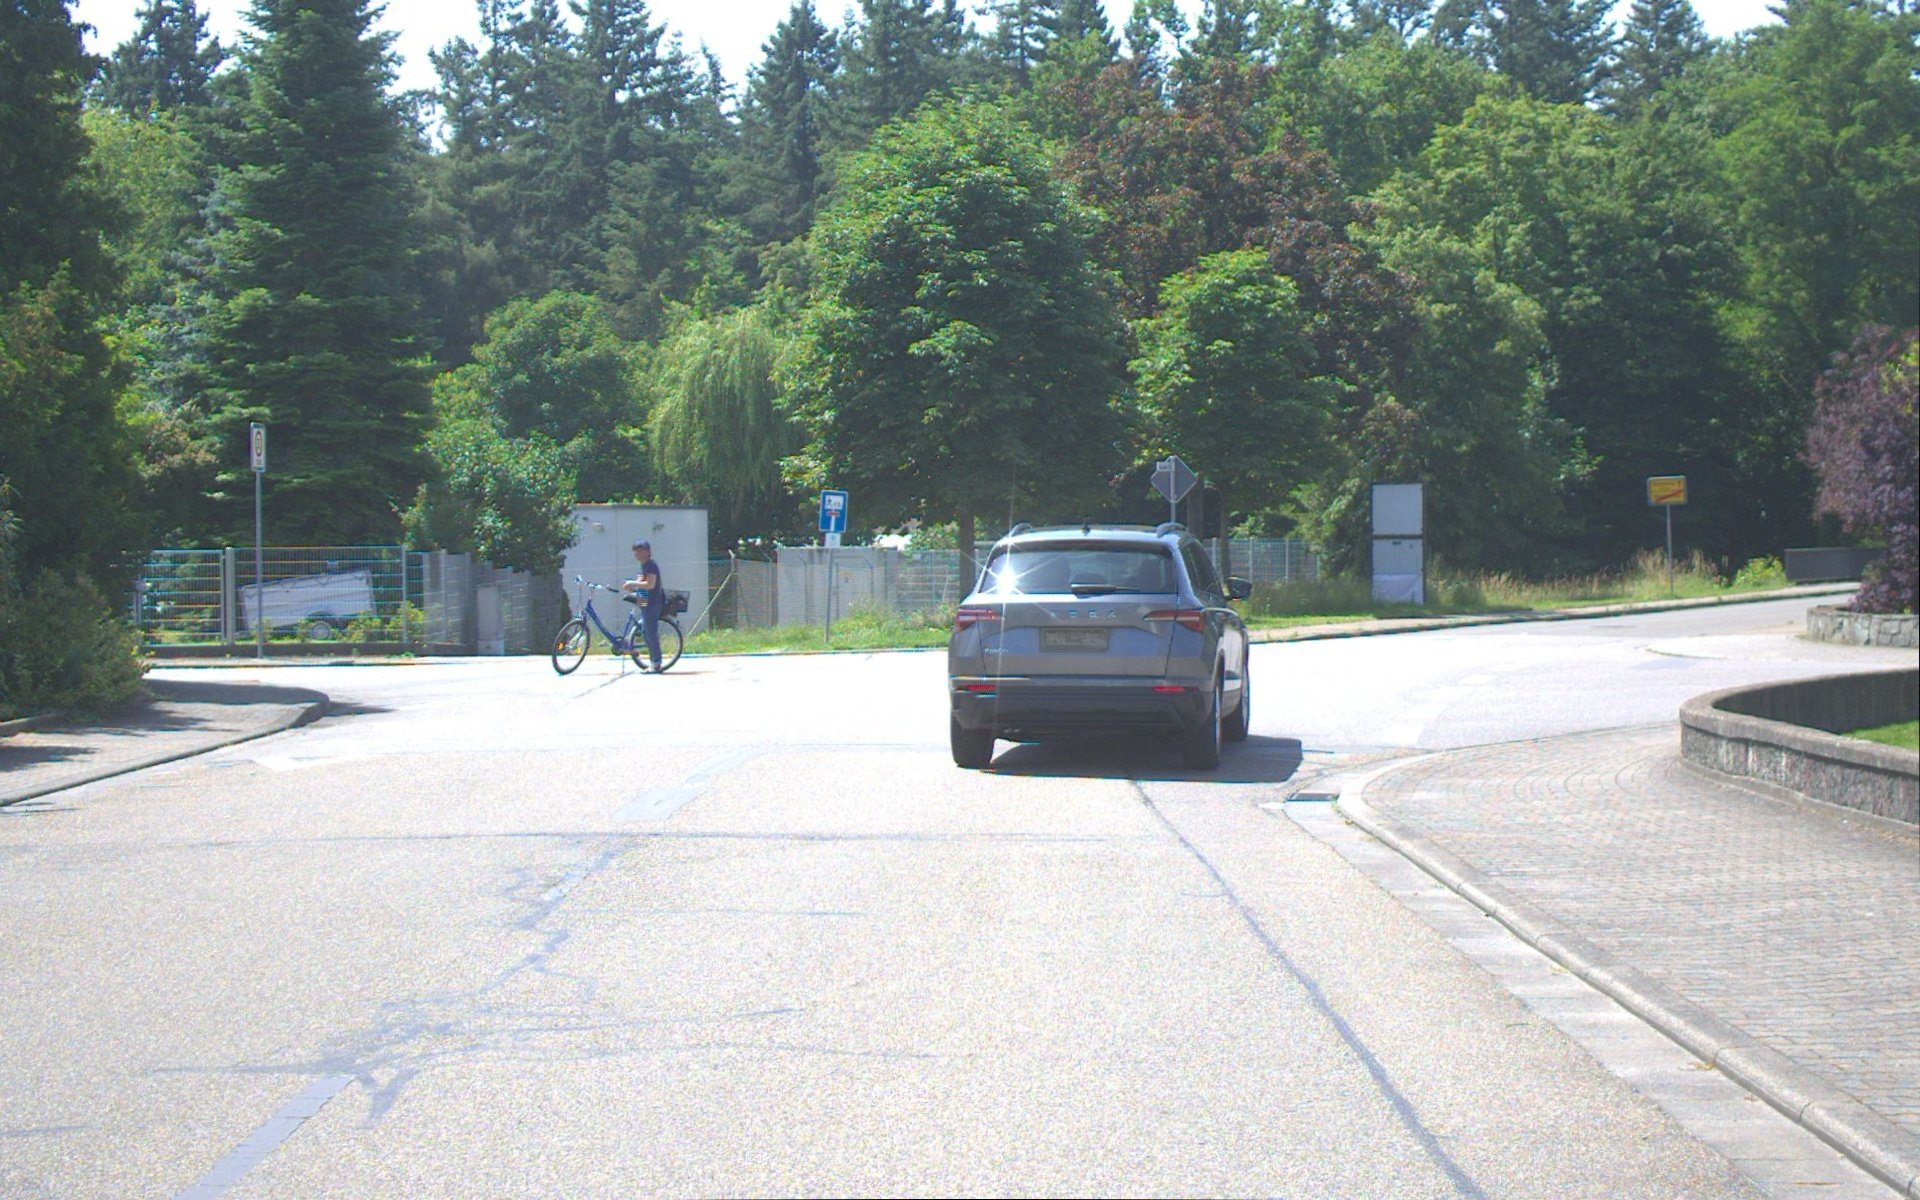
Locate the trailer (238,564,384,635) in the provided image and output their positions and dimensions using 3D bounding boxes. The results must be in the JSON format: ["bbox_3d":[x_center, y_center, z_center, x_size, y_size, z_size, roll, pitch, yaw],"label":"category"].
[{"bbox_3d":[-10.355,-0.016,54.909,2.214,1.080,1.106,-1,1,-7],"label":"trailer"}]

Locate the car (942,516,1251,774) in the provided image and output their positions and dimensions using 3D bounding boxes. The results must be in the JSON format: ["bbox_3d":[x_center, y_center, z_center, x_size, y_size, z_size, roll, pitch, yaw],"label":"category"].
[{"bbox_3d":[1.033,0.251,23.874,1.763,1.612,3.999,1,1,8],"label":"car"}]

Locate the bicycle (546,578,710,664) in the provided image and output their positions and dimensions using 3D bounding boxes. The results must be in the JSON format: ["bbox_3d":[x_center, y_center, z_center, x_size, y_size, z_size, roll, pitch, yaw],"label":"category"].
[{"bbox_3d":[-3.869,0.239,40.101,1.842,0.960,0.443,-1,1,-18],"label":"bicycle"}]

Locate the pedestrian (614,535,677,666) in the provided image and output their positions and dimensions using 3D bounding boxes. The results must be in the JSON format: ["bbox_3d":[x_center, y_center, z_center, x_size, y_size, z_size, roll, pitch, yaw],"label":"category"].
[{"bbox_3d":[-3.634,0.006,39.745,0.610,1.495,0.504,-1,1,-19],"label":"pedestrian"}]
